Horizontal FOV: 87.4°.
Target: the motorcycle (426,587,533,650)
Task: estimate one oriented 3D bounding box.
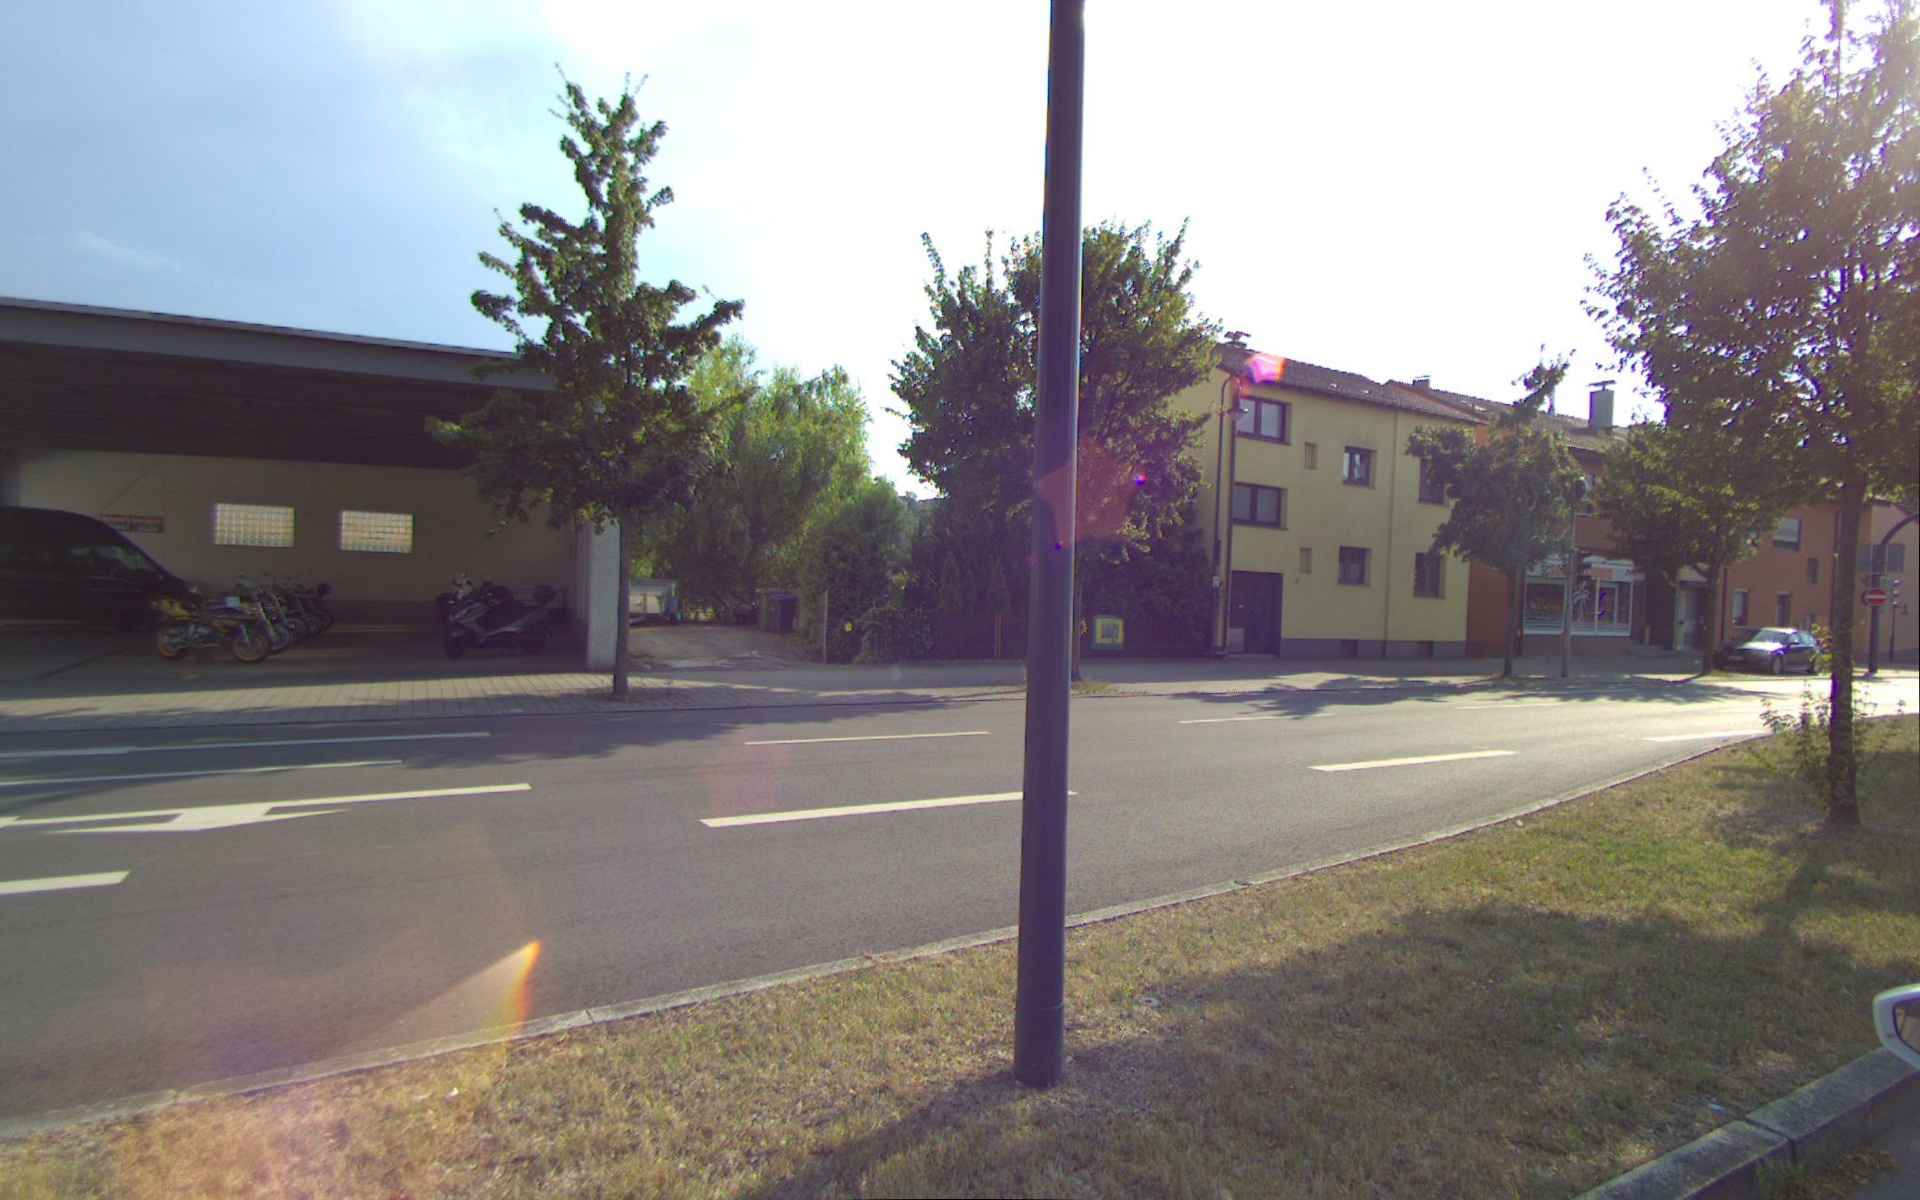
[{"bbox_3d":[-10.742,0.382,22.537,0.621,1.314,2.113,1,2,36],"label":"motorcycle"}]

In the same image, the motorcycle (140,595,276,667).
[{"bbox_3d":[-12.496,0.501,16.697,1.993,1.101,0.631,1,0,12],"label":"motorcycle"}]

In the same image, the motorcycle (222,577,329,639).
[{"bbox_3d":[-15.885,0.179,23.314,2.219,1.354,0.631,1,0,10],"label":"motorcycle"}]

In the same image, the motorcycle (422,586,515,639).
[{"bbox_3d":[-12.649,0.290,25.921,0.621,1.314,2.113,1,2,36],"label":"motorcycle"}]

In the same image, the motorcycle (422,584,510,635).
[{"bbox_3d":[-13.513,0.238,27.519,0.621,1.314,2.113,1,2,36],"label":"motorcycle"}]

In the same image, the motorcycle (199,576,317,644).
[{"bbox_3d":[-14.753,0.203,21.105,2.219,1.354,0.631,1,0,10],"label":"motorcycle"}]

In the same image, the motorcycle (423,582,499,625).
[{"bbox_3d":[-15.960,0.099,32.177,0.621,1.314,2.113,1,2,36],"label":"motorcycle"}]

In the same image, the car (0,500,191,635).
[{"bbox_3d":[-20.452,-0.684,22.091,1.962,2.789,5.280,1,0,26],"label":"car"}]

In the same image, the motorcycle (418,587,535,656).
[{"bbox_3d":[-9.812,0.399,20.460,0.621,1.314,2.113,1,2,36],"label":"motorcycle"}]

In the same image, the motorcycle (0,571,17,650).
[{"bbox_3d":[-17.287,0.167,16.725,0.619,1.380,2.225,1,0,24],"label":"motorcycle"}]

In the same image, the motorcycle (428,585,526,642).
[{"bbox_3d":[-11.767,0.310,24.538,0.621,1.314,2.113,1,2,36],"label":"motorcycle"}]

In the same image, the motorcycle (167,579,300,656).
[{"bbox_3d":[-13.632,0.317,18.862,2.219,1.354,0.631,1,0,10],"label":"motorcycle"}]

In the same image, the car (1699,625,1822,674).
[{"bbox_3d":[25.968,1.594,32.557,3.953,1.319,1.728,1,4,-30],"label":"car"}]

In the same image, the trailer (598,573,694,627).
[{"bbox_3d":[-8.217,-0.009,26.618,1.698,1.280,3.995,1,0,-7],"label":"trailer"}]

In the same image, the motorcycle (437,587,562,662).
[{"bbox_3d":[-8.619,0.428,18.898,0.621,1.314,2.113,1,2,36],"label":"motorcycle"}]

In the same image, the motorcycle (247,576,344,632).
[{"bbox_3d":[-16.909,0.100,25.573,2.219,1.354,0.631,1,0,10],"label":"motorcycle"}]
